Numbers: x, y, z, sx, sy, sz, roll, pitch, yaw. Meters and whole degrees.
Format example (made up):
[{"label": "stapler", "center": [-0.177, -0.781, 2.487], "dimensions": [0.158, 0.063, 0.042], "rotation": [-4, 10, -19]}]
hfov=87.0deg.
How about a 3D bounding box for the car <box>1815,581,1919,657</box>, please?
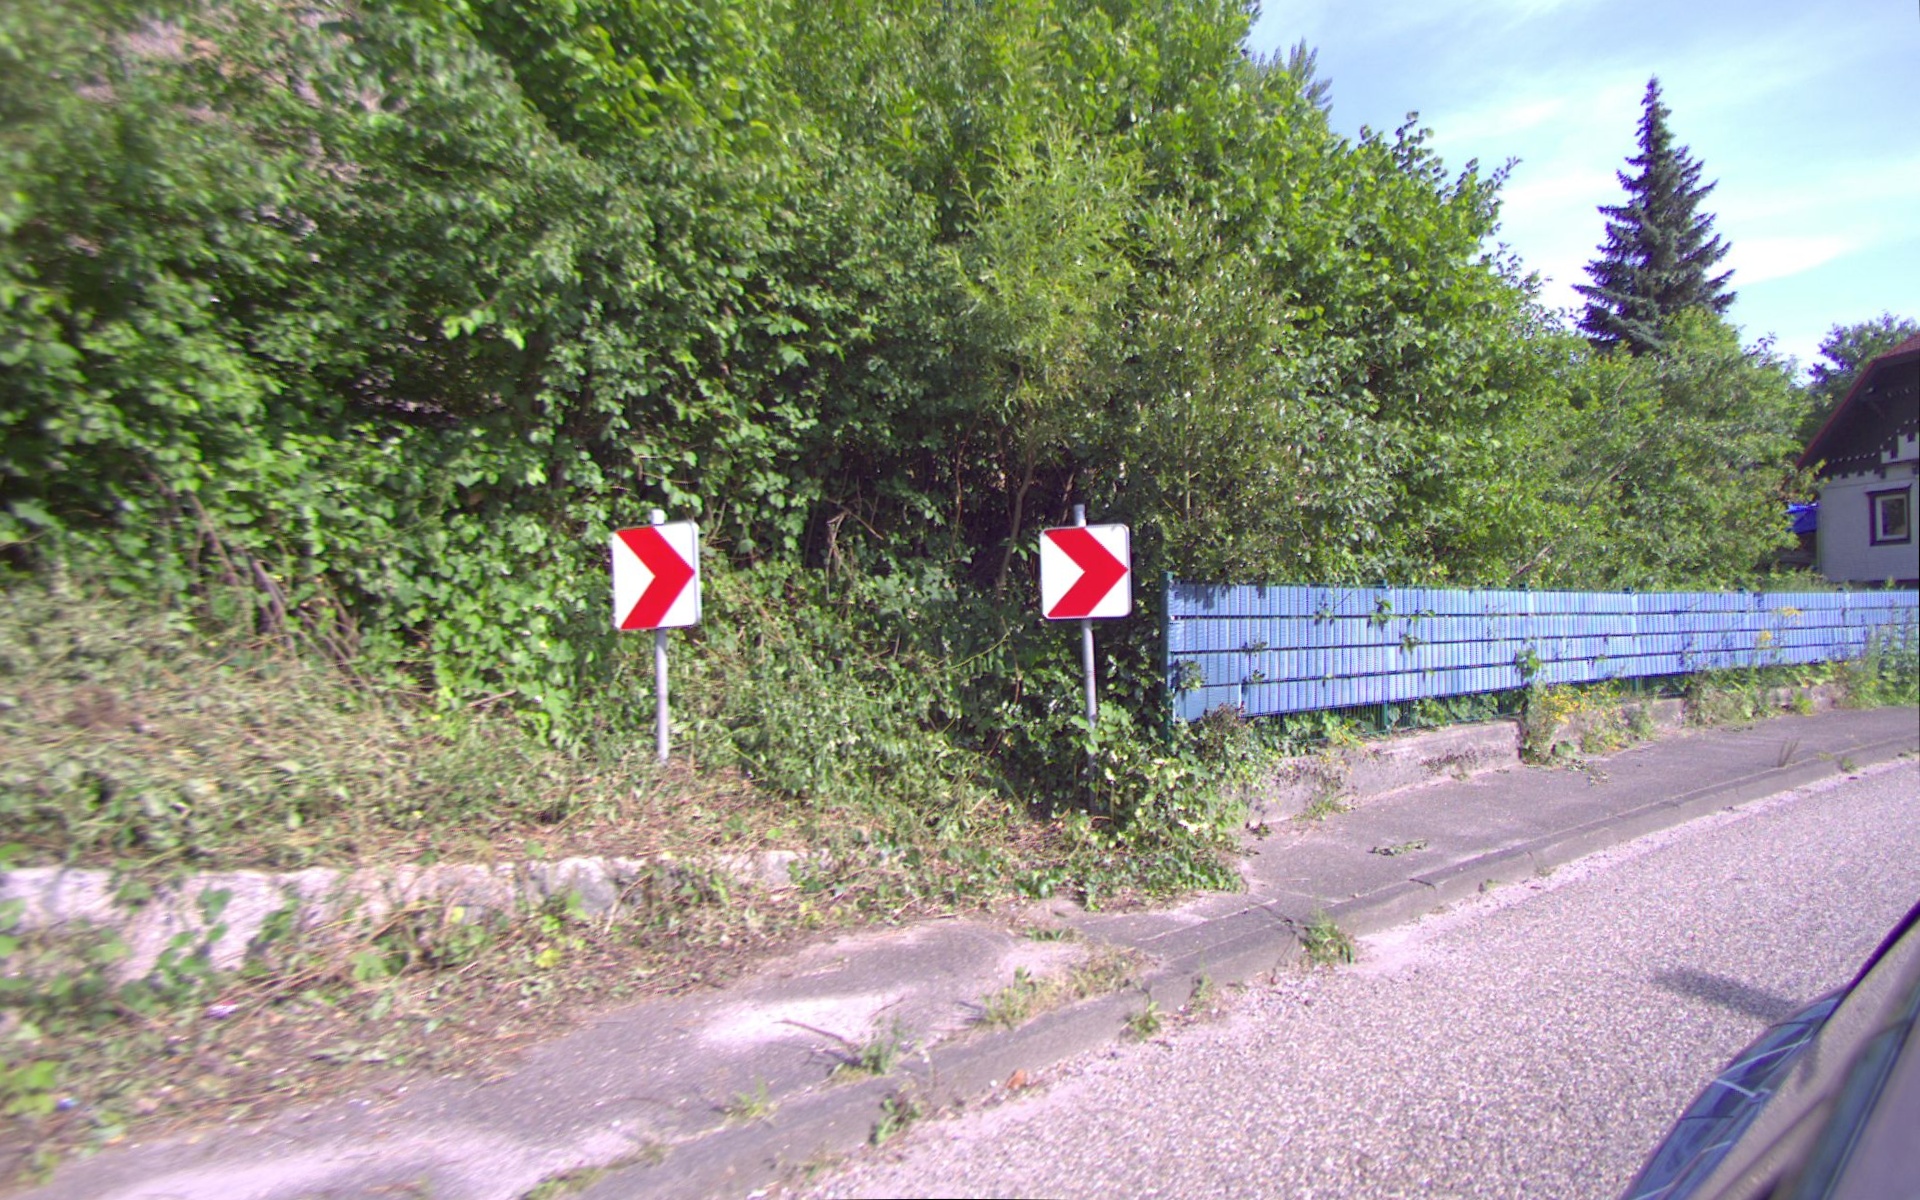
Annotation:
[{"label": "car", "center": [19.628, 0.366, 19.797], "dimensions": [4.314, 1.488, 1.808], "rotation": [-2, -2, 44]}]
